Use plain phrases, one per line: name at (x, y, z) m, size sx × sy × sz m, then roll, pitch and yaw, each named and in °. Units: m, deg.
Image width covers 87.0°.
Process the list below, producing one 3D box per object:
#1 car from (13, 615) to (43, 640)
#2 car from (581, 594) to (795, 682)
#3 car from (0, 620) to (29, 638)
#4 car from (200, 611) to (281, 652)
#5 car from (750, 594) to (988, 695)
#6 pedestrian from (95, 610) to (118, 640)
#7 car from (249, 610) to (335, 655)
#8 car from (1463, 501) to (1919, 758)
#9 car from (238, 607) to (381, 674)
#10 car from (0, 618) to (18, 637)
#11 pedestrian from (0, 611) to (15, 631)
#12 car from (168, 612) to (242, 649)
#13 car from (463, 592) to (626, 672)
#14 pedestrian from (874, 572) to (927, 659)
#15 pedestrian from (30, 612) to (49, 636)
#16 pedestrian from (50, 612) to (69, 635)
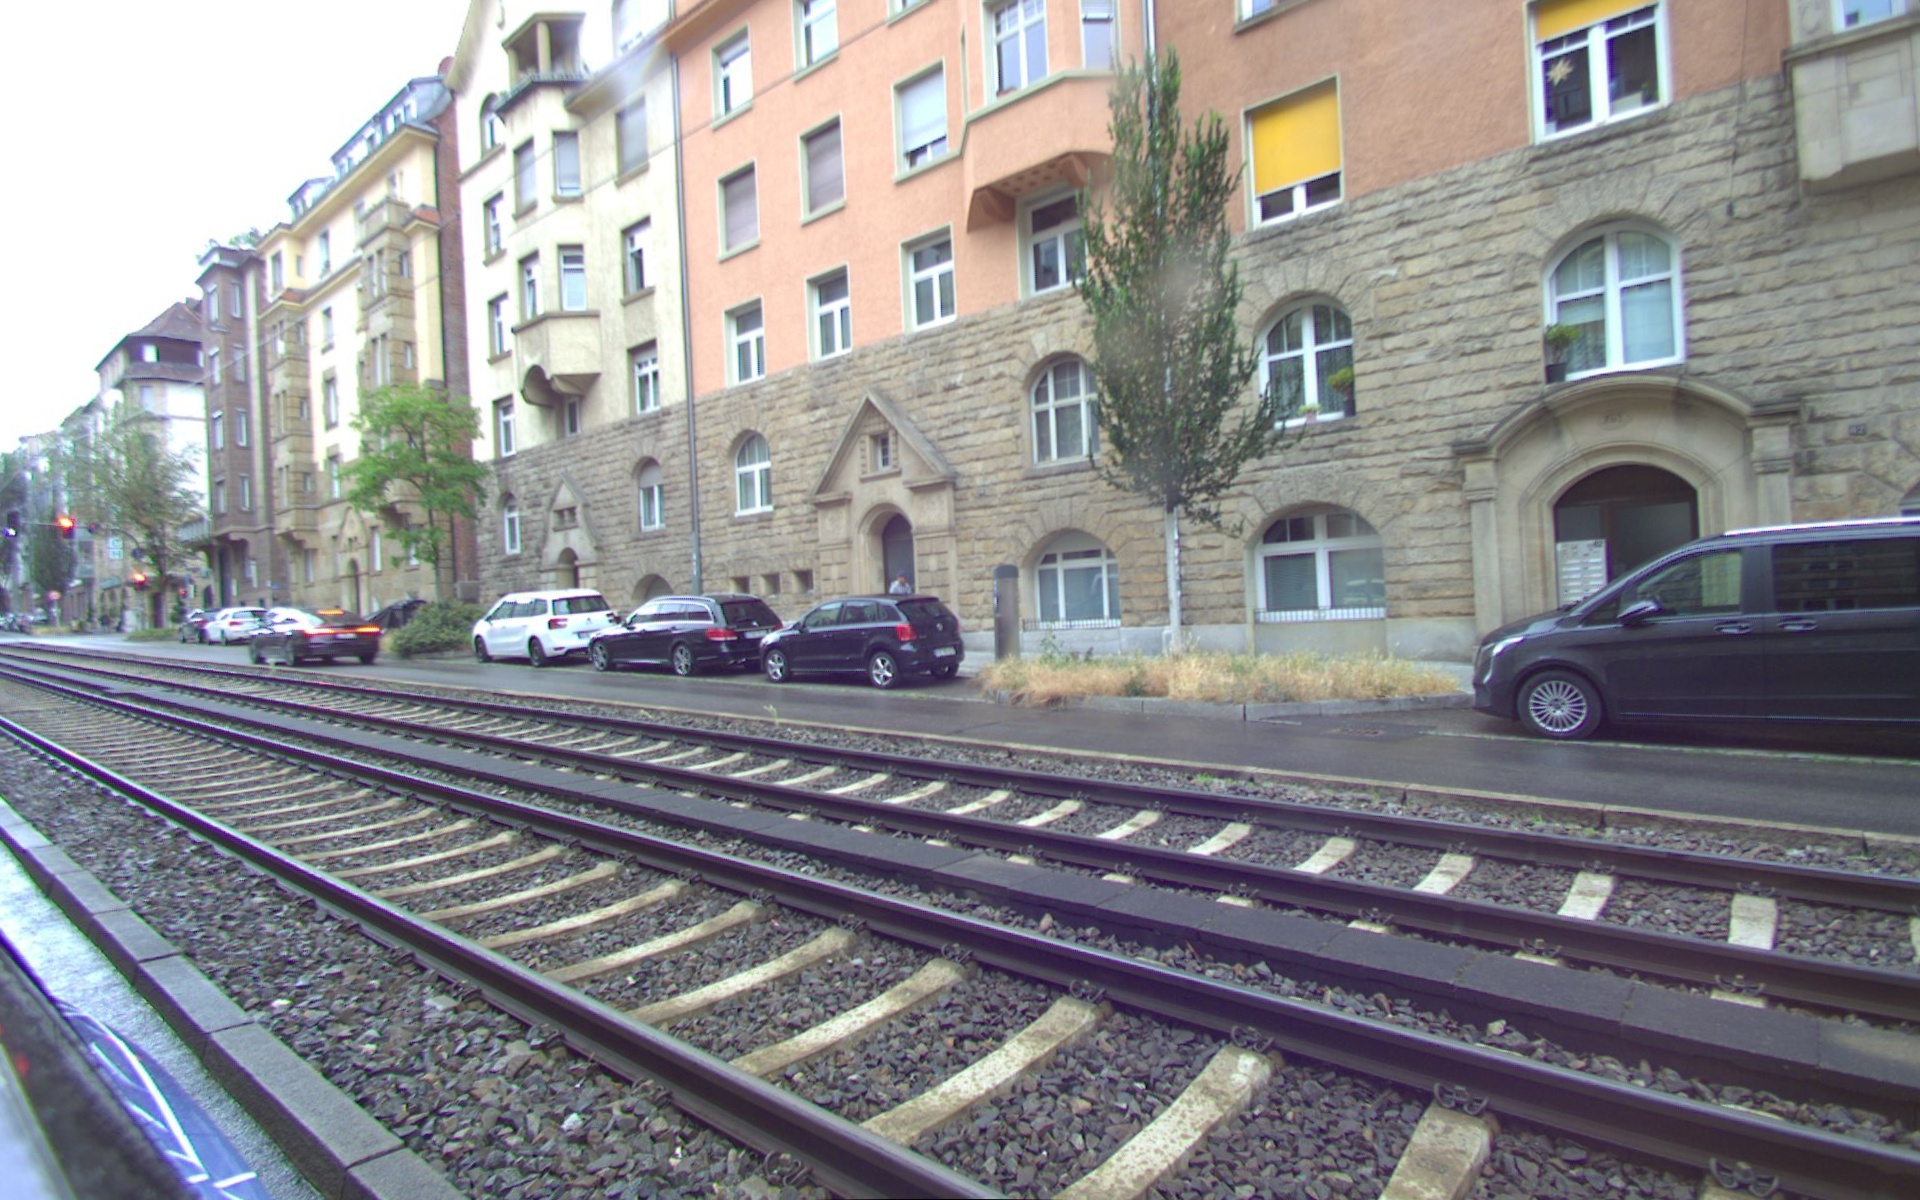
car at (-69.051, 2.014, 74.964) m, size 1.561 × 1.691 × 3.794 m, roll -2°, pitch 2°, yaw -43°
car at (-5.444, 0.707, 19.933) m, size 4.599 × 1.506 × 1.824 m, roll -1°, pitch 0°, yaw 41°
car at (-74.300, 2.303, 79.329) m, size 3.843 × 1.321 × 1.563 m, roll -1°, pitch 0°, yaw 41°
car at (-28.293, 1.226, 39.756) m, size 4.030 × 1.452 × 1.748 m, roll -1°, pitch 1°, yaw 42°
car at (-1.562, 0.679, 16.912) m, size 3.638 × 1.508 × 1.912 m, roll -1°, pitch 0°, yaw 38°
pedestrian at (-58.043, 1.675, 68.814) m, size 1.163 × 1.972 × 1.042 m, roll -1°, pitch 0°, yaw 43°
car at (-23.691, 1.109, 35.854) m, size 3.845 × 1.452 × 1.656 m, roll -1°, pitch 1°, yaw 43°
car at (7.341, 0.223, 8.978) m, size 4.823 × 1.956 × 1.973 m, roll -1°, pitch 0°, yaw 41°
car at (-16.827, 0.992, 26.062) m, size 4.962 × 1.535 × 1.784 m, roll -1°, pitch 0°, yaw 41°
car at (-80.928, 2.313, 85.402) m, size 3.843 × 1.527 × 1.748 m, roll -1°, pitch 0°, yaw 41°
pedestrian at (-98.515, 2.178, 104.369) m, size 1.379 × 1.972 × 1.362 m, roll -1°, pitch 0°, yaw 43°
car at (-32.151, 1.281, 43.079) m, size 3.843 × 1.452 × 1.748 m, roll -1°, pitch 0°, yaw 41°
car at (-9.751, 0.713, 23.606) m, size 4.144 × 1.668 × 1.843 m, roll -1°, pitch 0°, yaw 41°
pedestrian at (-1.165, 0.294, 19.853) m, size 0.765 × 1.654 × 0.692 m, roll -1°, pitch 0°, yaw 41°
pedestrian at (-77.962, 2.004, 85.677) m, size 1.163 × 1.972 × 1.042 m, roll -1°, pitch 0°, yaw 43°
pedestrian at (-77.122, 1.995, 86.661) m, size 1.163 × 1.972 × 1.042 m, roll -1°, pitch 0°, yaw 43°
